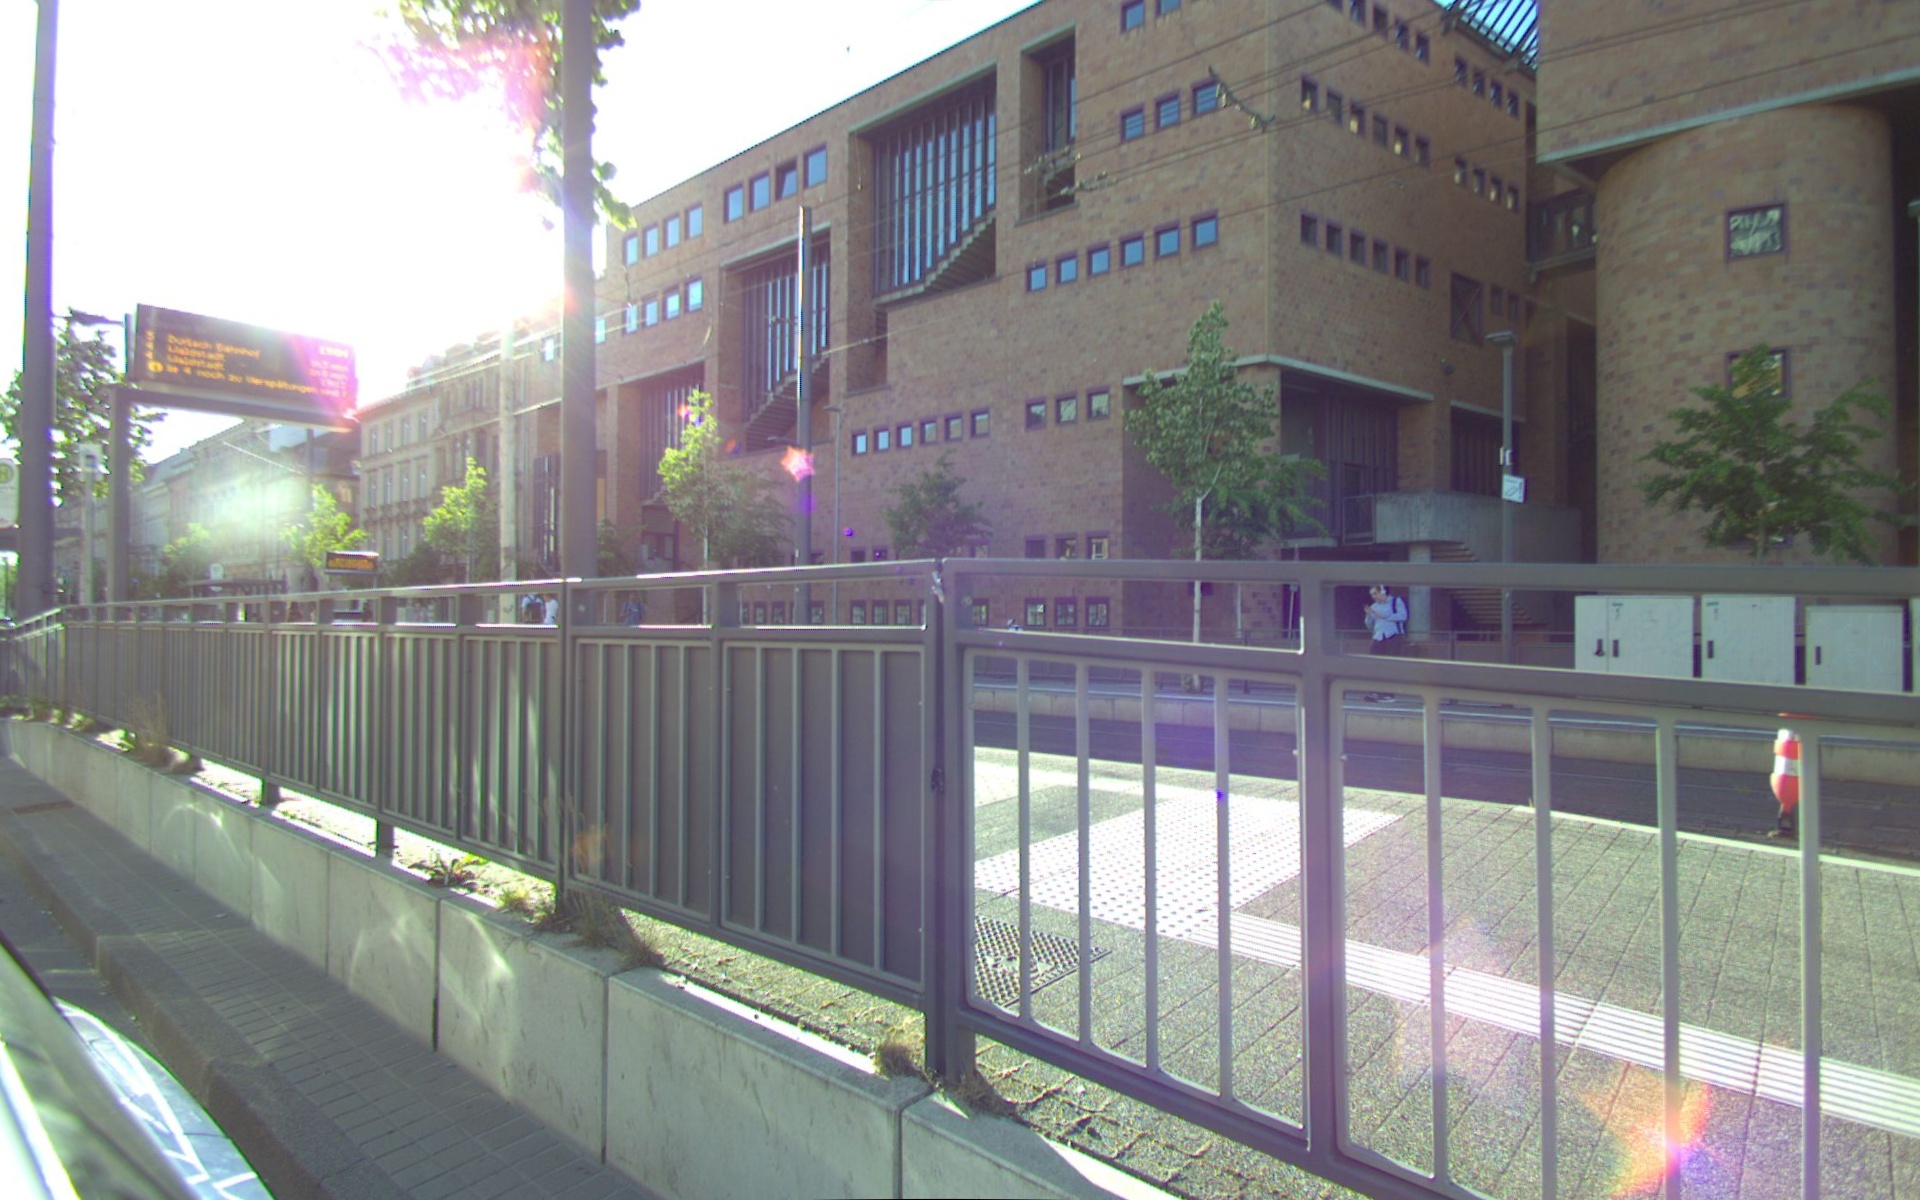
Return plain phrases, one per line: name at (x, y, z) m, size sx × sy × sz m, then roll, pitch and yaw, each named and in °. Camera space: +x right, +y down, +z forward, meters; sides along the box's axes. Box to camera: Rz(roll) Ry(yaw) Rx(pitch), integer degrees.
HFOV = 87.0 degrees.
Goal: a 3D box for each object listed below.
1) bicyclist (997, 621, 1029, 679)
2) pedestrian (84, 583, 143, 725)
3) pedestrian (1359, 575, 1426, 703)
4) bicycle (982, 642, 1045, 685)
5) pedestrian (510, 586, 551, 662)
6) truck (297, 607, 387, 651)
bicyclist at (1.441, 1.344, 27.504) m, size 0.650 × 1.545 × 0.580 m, roll 0°, pitch 0°, yaw 41°
pedestrian at (-15.075, 0.931, 18.020) m, size 0.625 × 2.461 × 0.676 m, roll 0°, pitch 0°, yaw 38°
pedestrian at (5.765, 0.495, 13.486) m, size 0.684 × 1.647 × 0.660 m, roll 0°, pitch 0°, yaw 37°
bicycle at (1.437, 1.702, 27.436) m, size 1.814 × 1.098 × 0.455 m, roll 0°, pitch -3°, yaw 42°
pedestrian at (-10.413, 0.567, 24.560) m, size 0.668 × 1.821 × 0.677 m, roll 0°, pitch 0°, yaw 40°
truck at (-28.779, 1.369, 47.046) m, size 5.151 × 1.894 × 1.973 m, roll -2°, pitch -4°, yaw 40°
